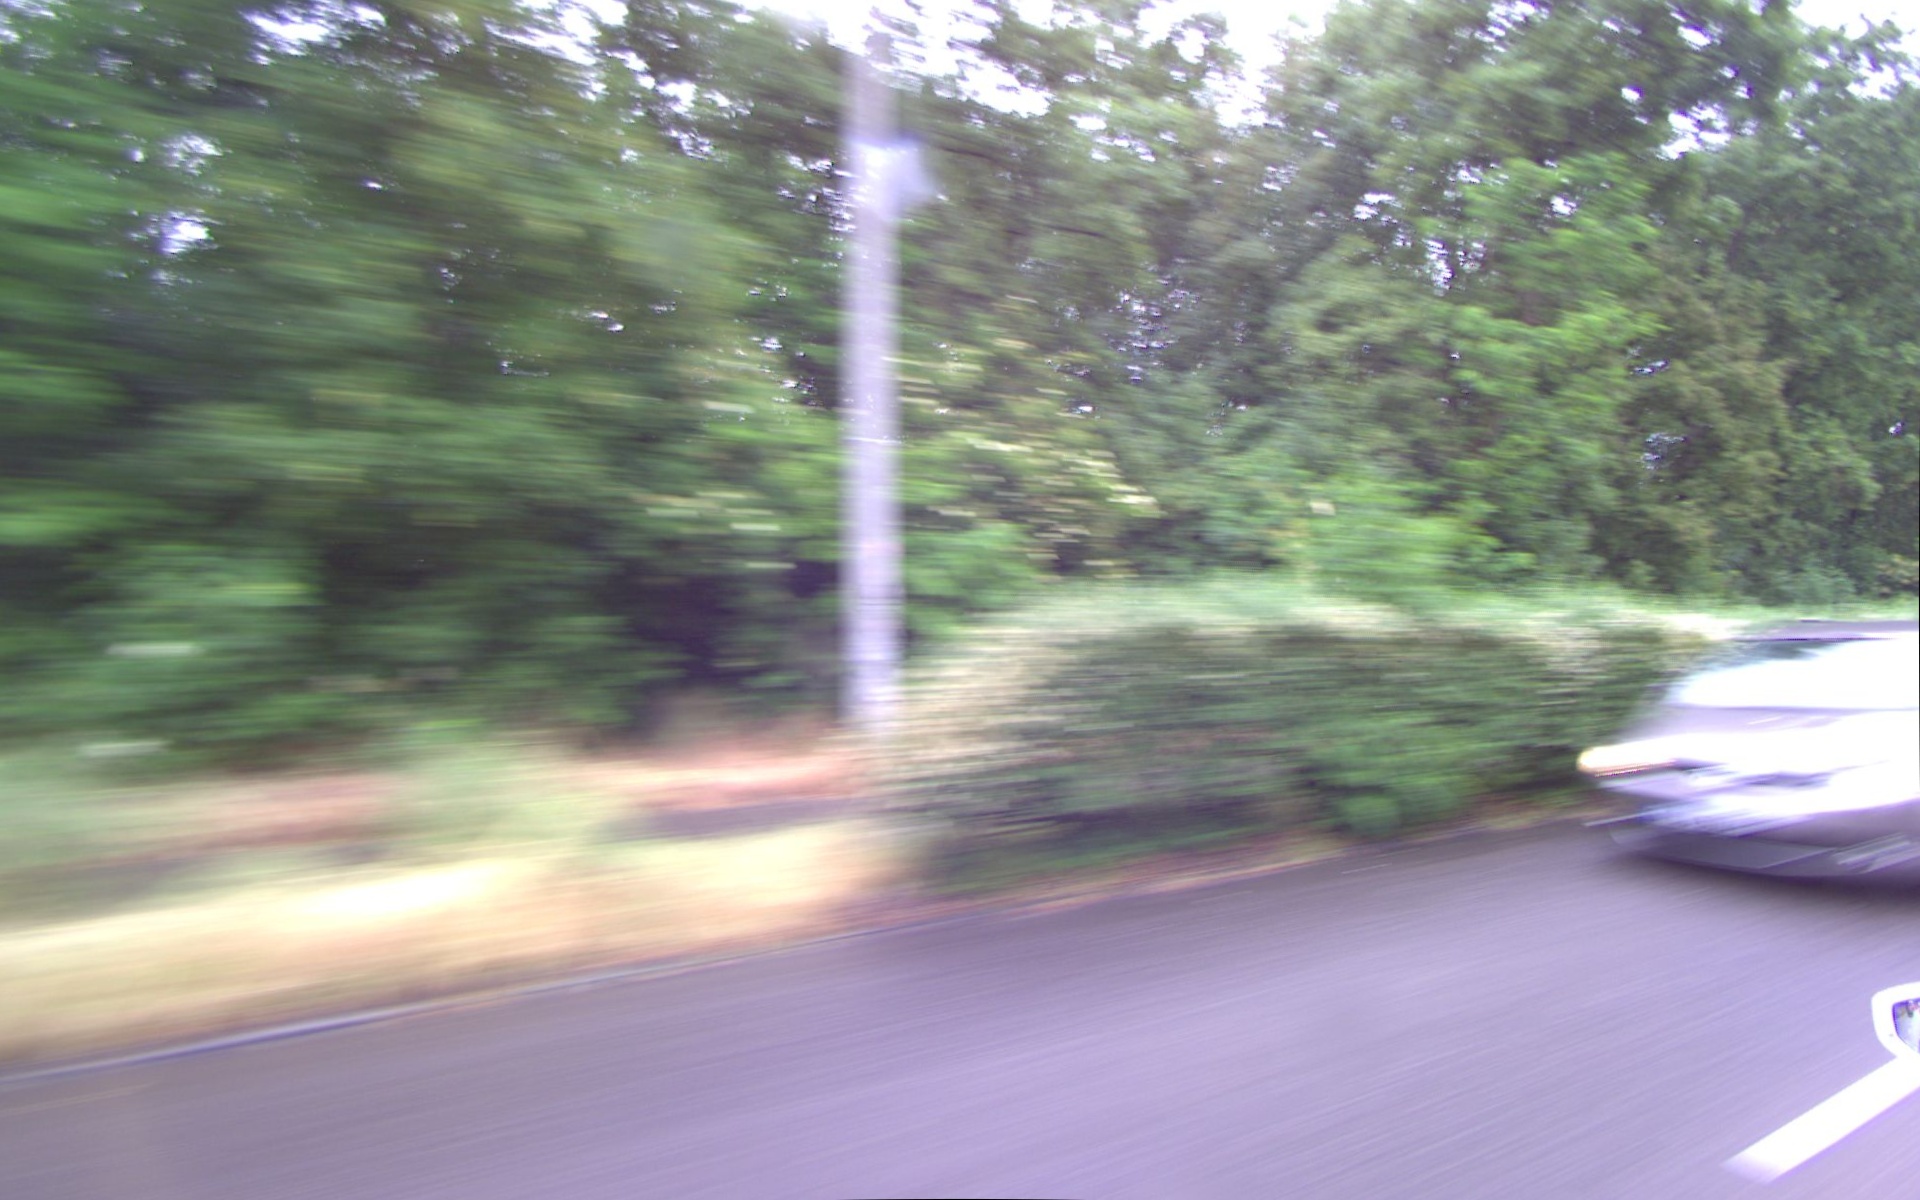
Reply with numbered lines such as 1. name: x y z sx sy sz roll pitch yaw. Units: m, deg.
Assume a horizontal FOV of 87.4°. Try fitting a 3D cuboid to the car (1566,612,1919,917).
1. car: 6.028 0.844 6.731 3.954 1.512 1.721 0 -2 -31
